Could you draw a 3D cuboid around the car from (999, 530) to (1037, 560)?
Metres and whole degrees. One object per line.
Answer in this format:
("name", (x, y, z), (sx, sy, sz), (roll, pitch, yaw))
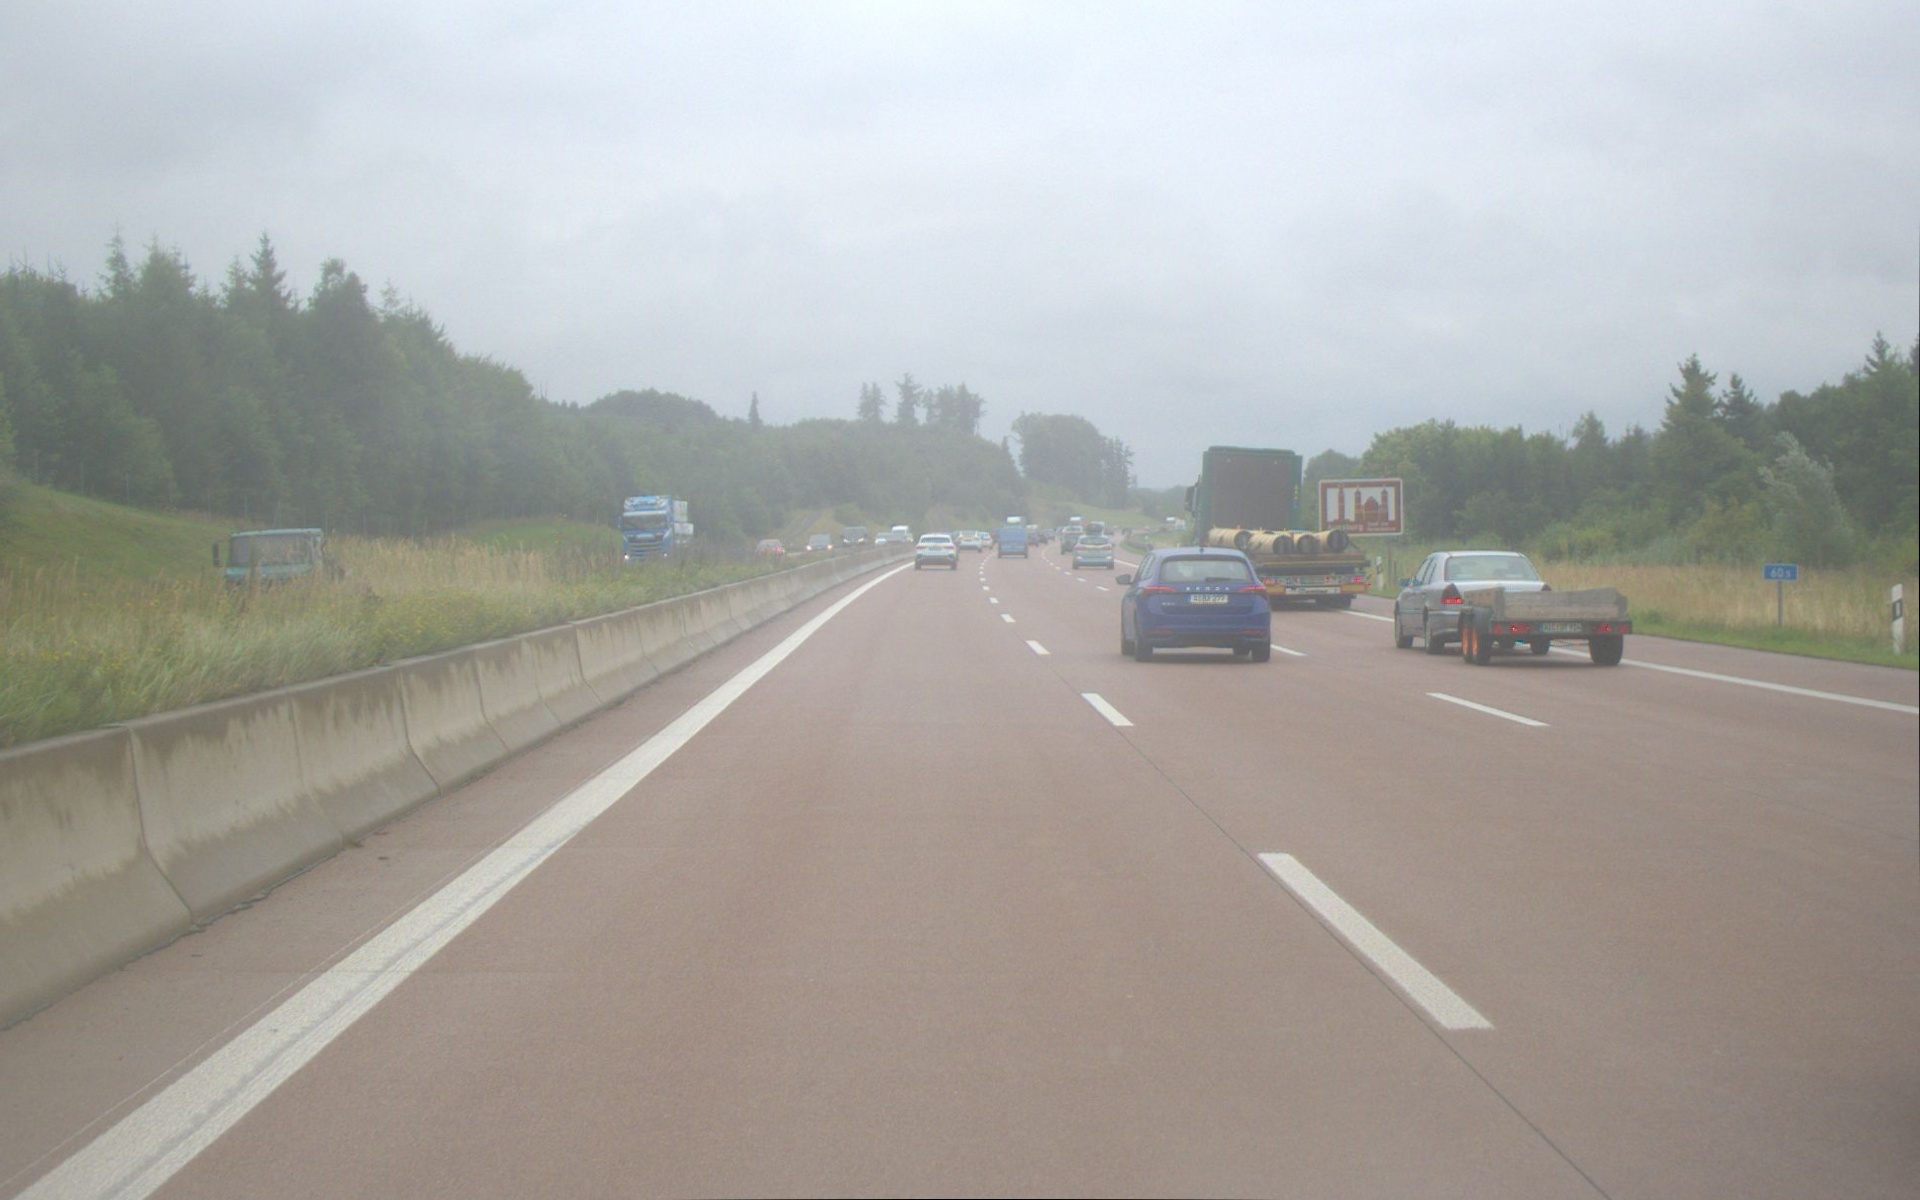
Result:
("car", (3.565, -3.394, 211.590), (2.322, 1.744, 4.877), (1, 0, 1))

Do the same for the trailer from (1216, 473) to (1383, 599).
("trailer", (7.708, -1.377, 79.457), (2.881, 2.666, 11.398), (1, 0, 1))

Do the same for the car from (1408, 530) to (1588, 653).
("car", (7.358, -0.124, 47.434), (1.698, 1.606, 4.977), (0, 0, 0))

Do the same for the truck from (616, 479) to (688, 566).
("truck", (-16.402, -4.190, 183.586), (2.964, 4.305, 7.650), (-4, 2, -1))

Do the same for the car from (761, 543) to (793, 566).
("car", (-11.501, -2.866, 216.478), (1.818, 1.365, 5.115), (1, 0, -1))

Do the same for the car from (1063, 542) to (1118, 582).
("car", (5.819, -1.683, 153.897), (2.322, 1.744, 4.877), (1, 0, 1))

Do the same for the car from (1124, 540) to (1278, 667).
("car", (3.108, 0.040, 45.034), (1.771, 1.558, 4.146), (1, 0, 1))

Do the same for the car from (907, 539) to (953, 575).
("car", (-1.303, -1.907, 150.812), (1.874, 1.439, 4.877), (1, 2, 1))

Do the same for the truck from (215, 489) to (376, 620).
("truck", (-16.764, -1.120, 87.112), (2.863, 3.161, 6.495), (1, 0, -1))

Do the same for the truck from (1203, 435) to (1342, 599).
("truck", (7.846, -2.021, 87.020), (2.897, 3.951, 6.988), (1, 0, 1))

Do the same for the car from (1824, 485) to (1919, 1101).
("car", (3.518, 0.514, 6.866), (1.993, 1.587, 5.820), (1, 0, -1))

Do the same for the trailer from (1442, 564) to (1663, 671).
("trailer", (7.286, 0.183, 42.741), (1.971, 1.162, 4.639), (1, 1, 1))
